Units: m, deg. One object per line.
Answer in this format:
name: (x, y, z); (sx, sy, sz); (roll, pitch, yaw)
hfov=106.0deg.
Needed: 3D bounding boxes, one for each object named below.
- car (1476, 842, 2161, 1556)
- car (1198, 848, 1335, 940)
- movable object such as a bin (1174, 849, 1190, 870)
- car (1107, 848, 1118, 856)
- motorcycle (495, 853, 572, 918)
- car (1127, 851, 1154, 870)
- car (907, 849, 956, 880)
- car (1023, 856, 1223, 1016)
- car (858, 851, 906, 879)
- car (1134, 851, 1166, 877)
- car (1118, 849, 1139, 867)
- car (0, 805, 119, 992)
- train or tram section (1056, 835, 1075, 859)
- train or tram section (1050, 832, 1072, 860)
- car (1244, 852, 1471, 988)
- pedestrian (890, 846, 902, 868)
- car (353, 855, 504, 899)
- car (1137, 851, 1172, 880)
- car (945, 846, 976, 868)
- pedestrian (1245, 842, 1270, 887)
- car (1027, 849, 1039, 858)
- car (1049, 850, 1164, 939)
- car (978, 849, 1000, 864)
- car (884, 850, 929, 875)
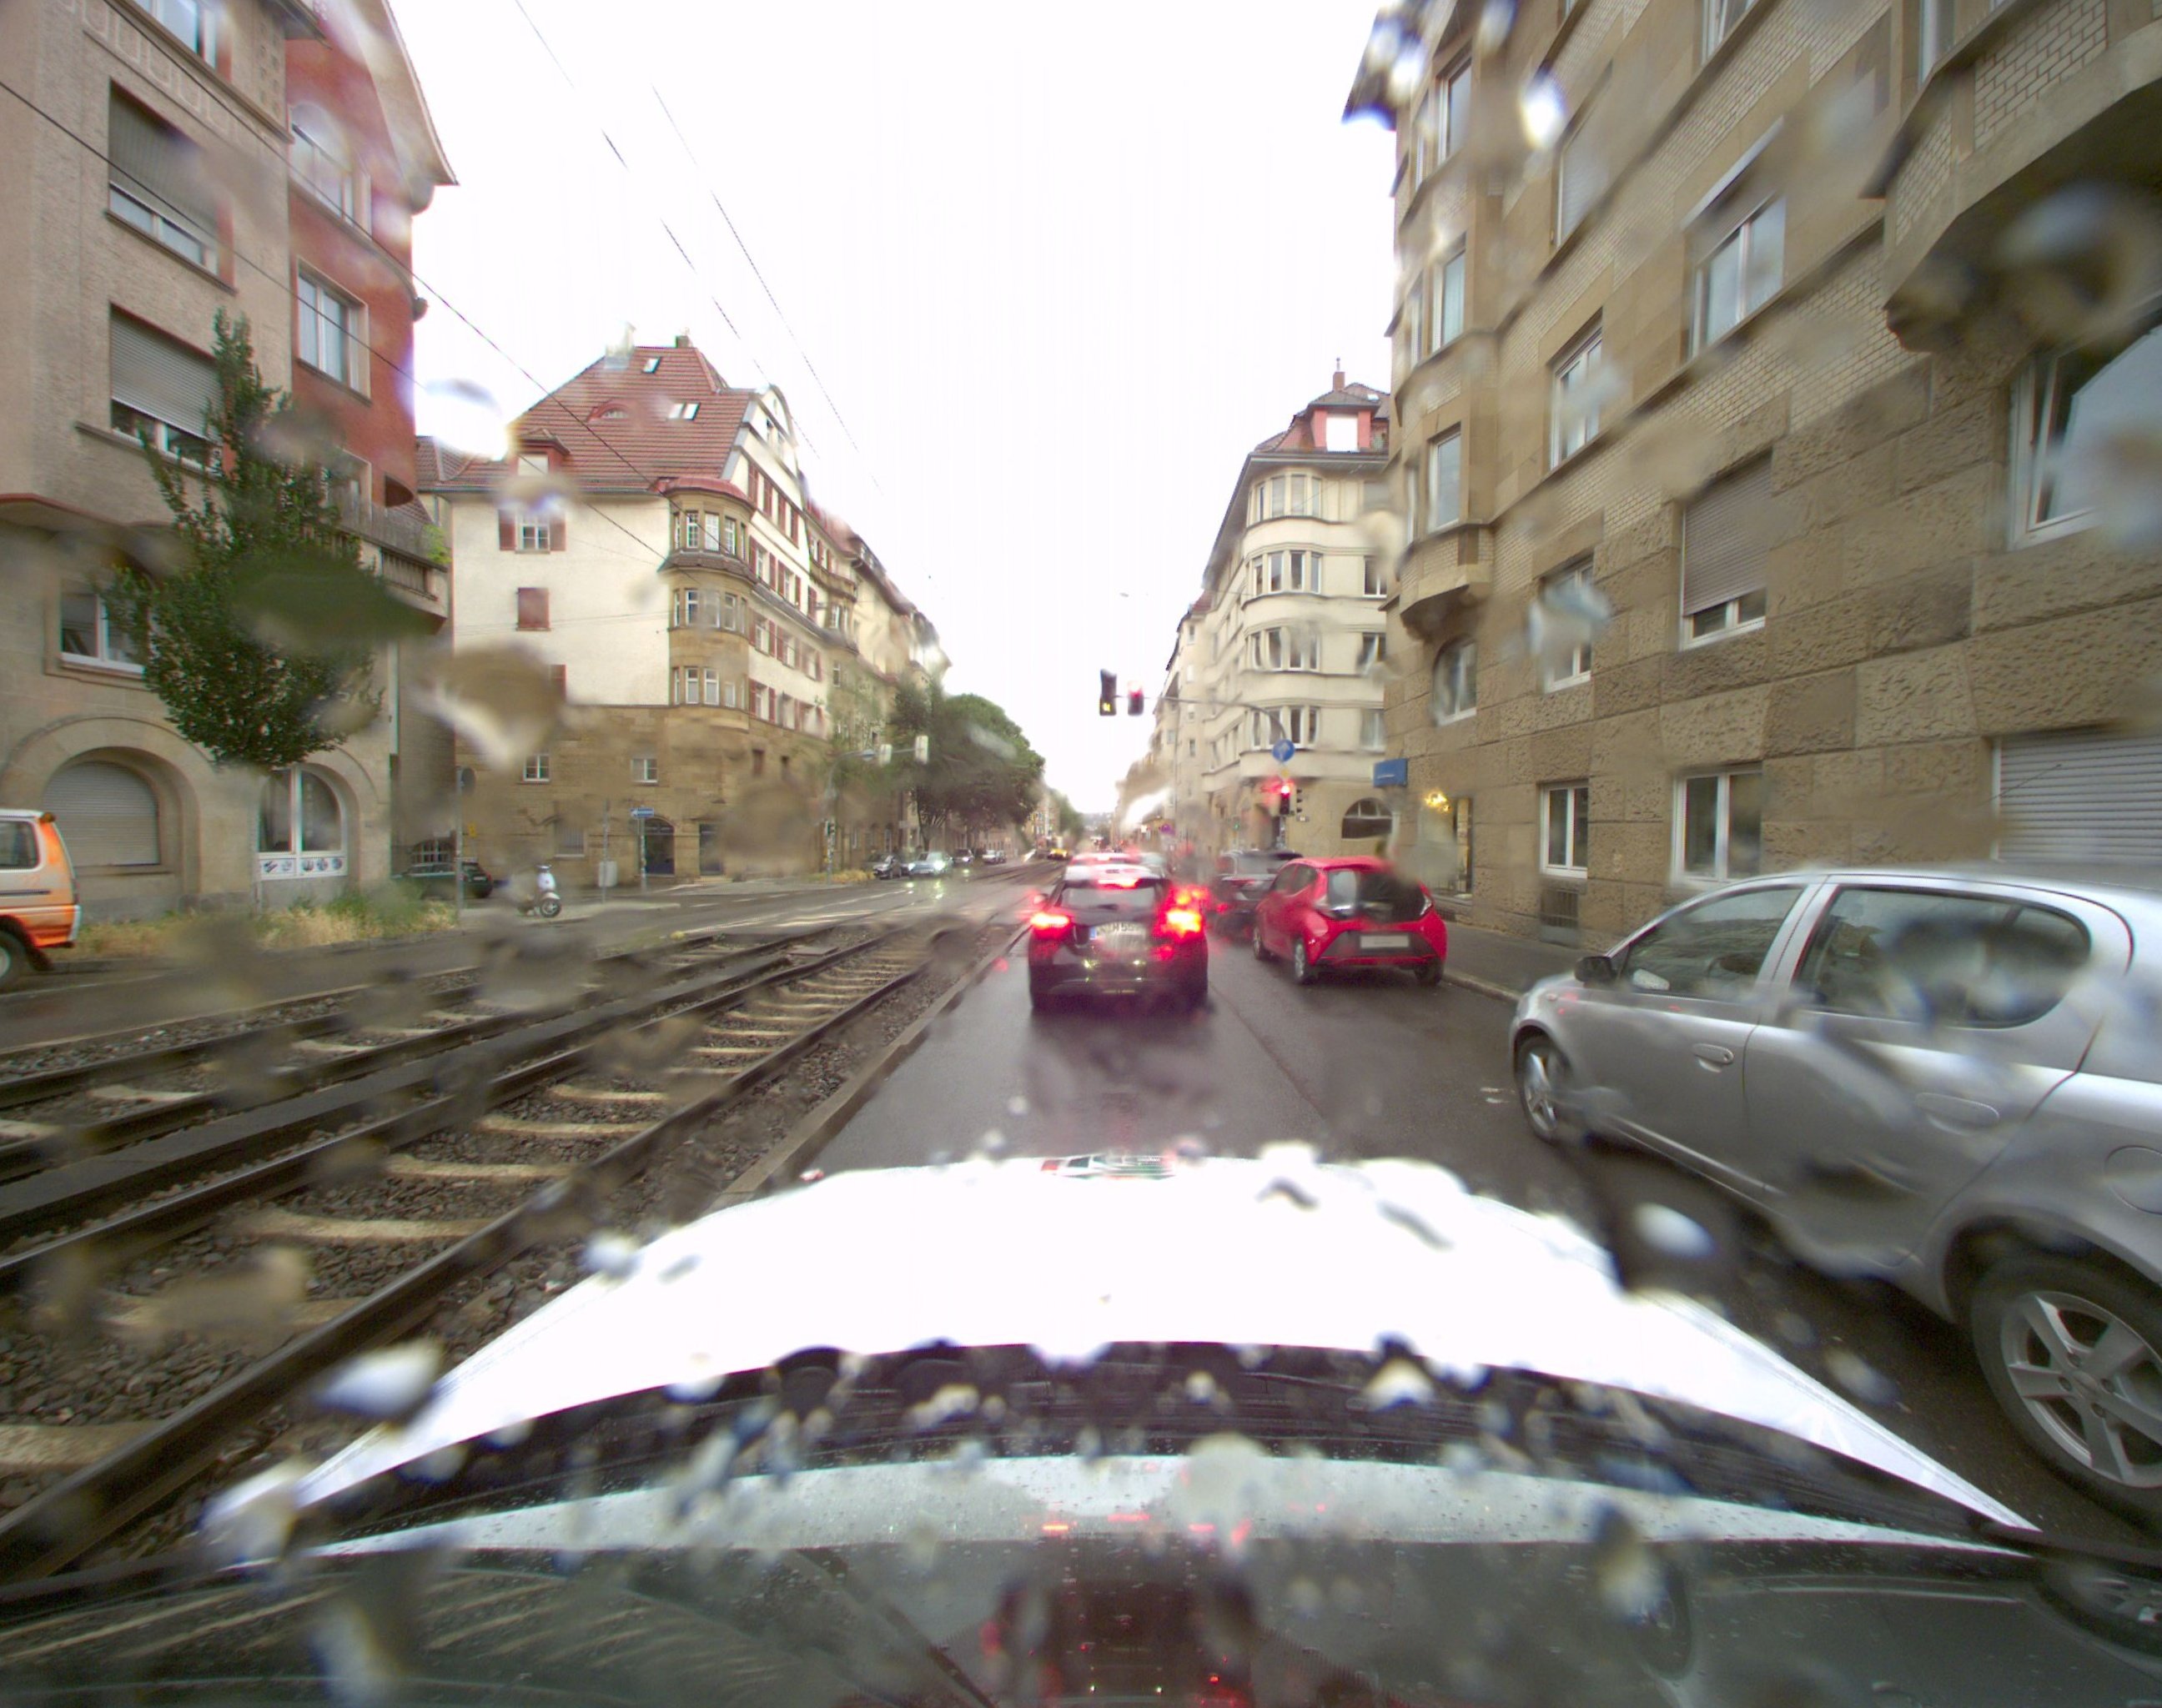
car: (3.094, 0.712, 3.067); (1.588, 1.487, 3.524); (-1, 0, 2)
car: (3.438, 0.675, 15.820); (1.860, 1.549, 3.992); (1, 0, 2)
movable object such as a bin: (7.411, 0.408, 59.826); (0.976, 1.468, 1.273); (0, -1, 1)
car: (6.064, -0.304, 156.582); (1.879, 1.525, 4.249); (1, 0, 3)
motorcycle: (-12.020, 0.668, 17.859); (1.761, 1.375, 0.772); (-1, -1, 33)
car: (4.488, 0.520, 61.991); (1.783, 1.385, 4.396); (0, 0, 1)
car: (-8.268, 0.577, 45.361); (1.915, 1.617, 4.128); (0, -1, 0)
car: (0.443, 0.760, 9.405); (1.828, 1.453, 3.903); (0, 0, 2)
car: (-11.194, 0.614, 46.110); (1.684, 1.529, 4.175); (0, -1, 0)
car: (4.114, 0.601, 49.035); (1.705, 1.468, 4.775); (0, 0, 2)
car: (4.393, 0.387, 74.549); (1.833, 1.608, 4.765); (0, 0, 4)
car: (-12.085, 0.458, 7.230); (1.722, 1.930, 4.476); (0, -1, 0)
train or tram section: (-2.646, -1.217, 141.817); (2.736, 4.061, 15.663); (0, 0, 1)
train or tram section: (-2.934, -1.197, 125.589); (2.736, 4.061, 17.216); (0, 0, 1)
car: (3.341, 0.710, 10.545); (1.700, 1.453, 3.531); (1, 0, -1)
pedestrian: (-14.032, 0.250, 61.791); (0.726, 1.663, 0.771); (0, 0, 1)
car: (-24.451, 0.837, 30.631); (3.977, 1.574, 1.998); (0, -1, -2)
car: (3.913, 0.603, 43.669); (1.703, 1.410, 4.821); (0, 0, 3)
car: (-10.679, 0.216, 72.446); (1.946, 1.742, 4.779); (3, 1, 0)
pedestrian: (6.681, 0.388, 30.833); (0.801, 1.687, 0.754); (0, -1, 1)
car: (-8.435, -0.050, 142.685); (1.775, 1.502, 4.062); (0, -1, 0)
car: (0.512, 0.705, 16.236); (1.986, 1.525, 4.247); (1, 0, 2)
car: (-10.122, 0.255, 89.892); (1.954, 1.605, 4.329); (1, 1, 1)
car: (-10.997, 0.539, 51.666); (1.775, 1.460, 4.978); (0, 0, 0)
